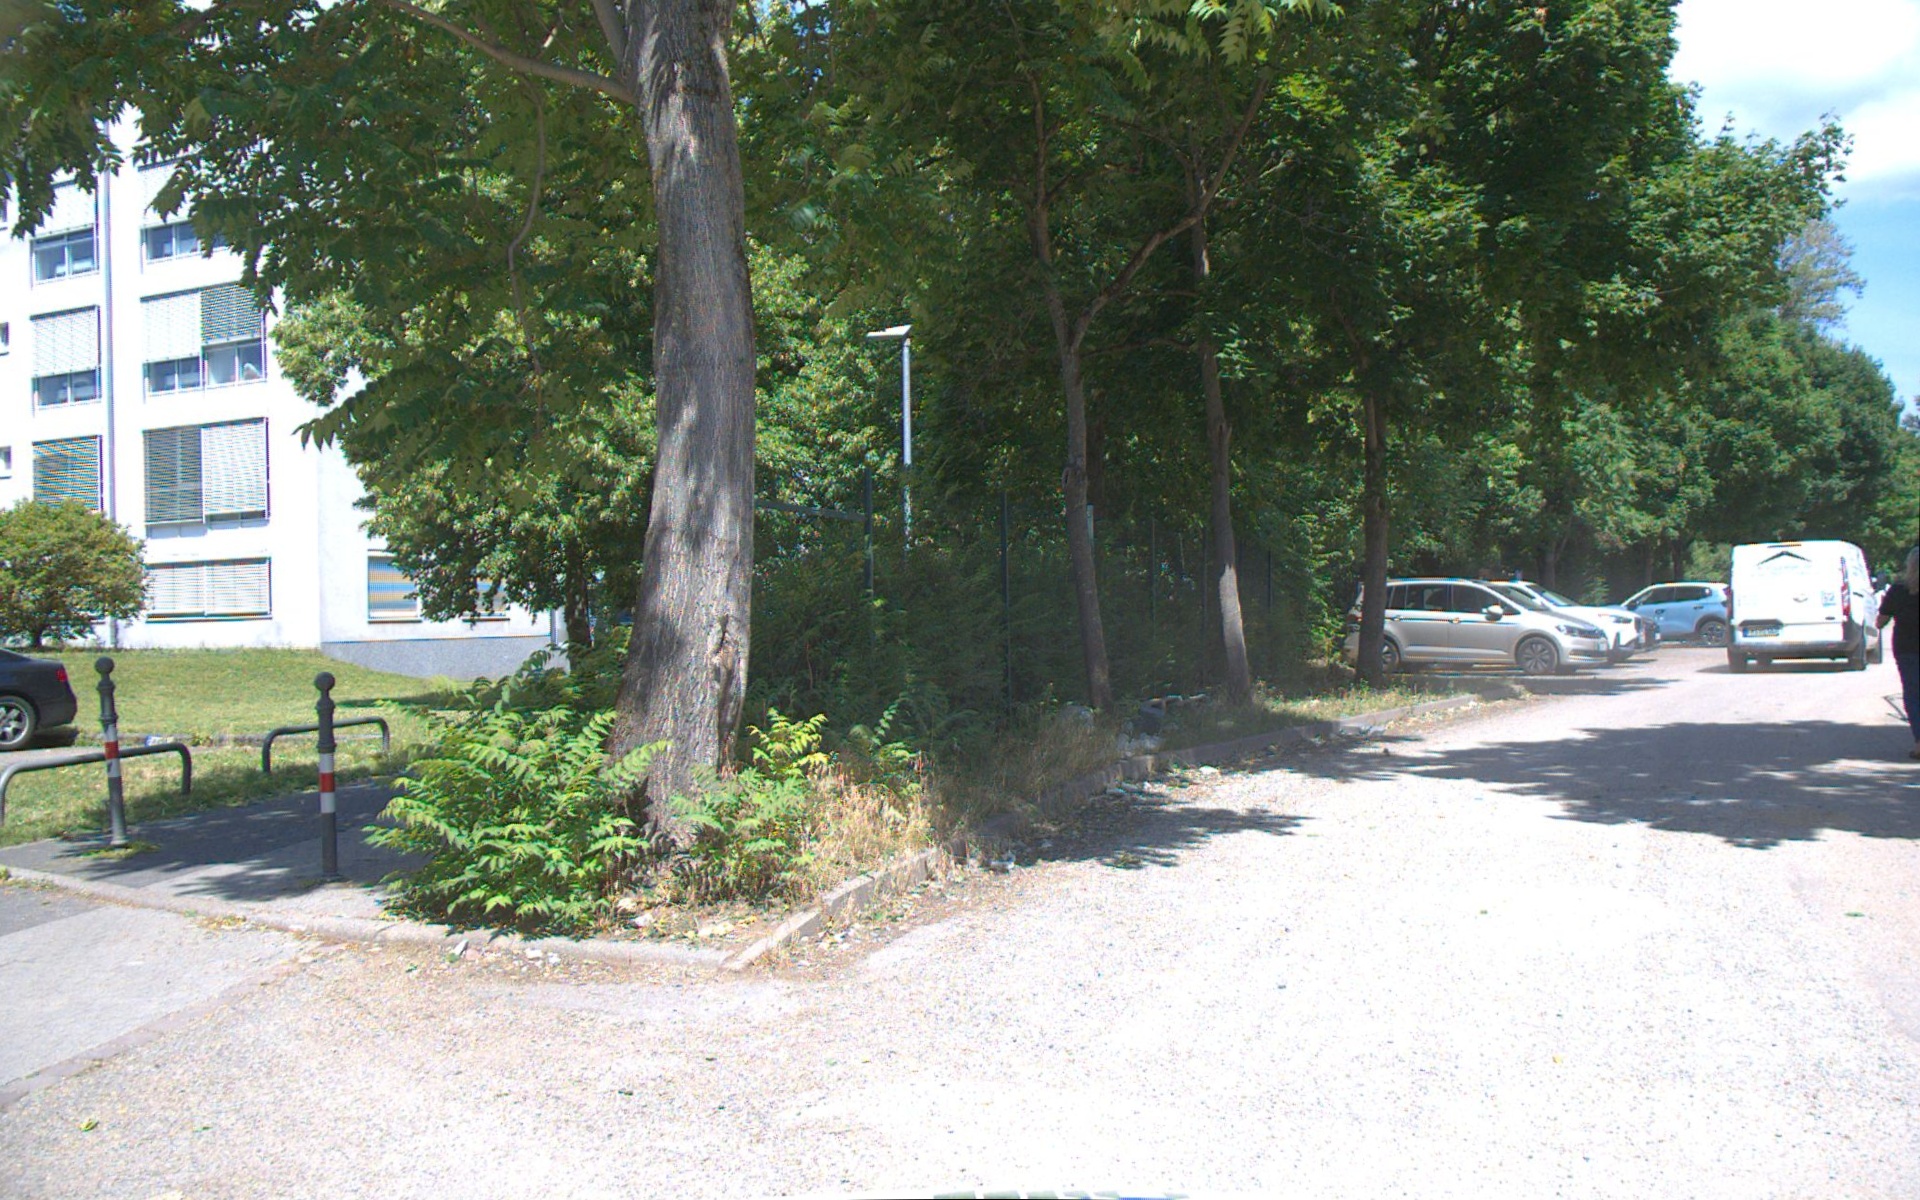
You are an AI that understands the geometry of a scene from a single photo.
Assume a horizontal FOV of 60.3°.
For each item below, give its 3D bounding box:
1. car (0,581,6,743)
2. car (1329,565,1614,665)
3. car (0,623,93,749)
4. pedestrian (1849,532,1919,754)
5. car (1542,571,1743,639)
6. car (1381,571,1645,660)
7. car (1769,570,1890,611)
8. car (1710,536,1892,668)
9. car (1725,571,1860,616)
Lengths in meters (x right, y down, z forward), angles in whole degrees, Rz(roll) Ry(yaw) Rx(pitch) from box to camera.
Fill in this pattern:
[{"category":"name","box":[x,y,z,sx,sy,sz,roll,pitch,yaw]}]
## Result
[{"category":"car","box":[-14.198,0.837,19.476,1.958,2.049,4.760,-2,-1,34]},{"category":"car","box":[8.965,0.306,29.116,4.428,1.637,1.993,-1,-2,35]},{"category":"car","box":[-12.101,0.997,17.818,1.796,1.376,4.612,-1,0,34]},{"category":"pedestrian","box":[7.575,0.311,12.918,1.015,1.679,1.048,-1,1,25]},{"category":"car","box":[17.205,0.135,41.756,4.426,1.625,1.720,-1,1,34]},{"category":"car","box":[10.387,0.295,31.204,4.426,1.558,1.720,-1,0,34]},{"category":"car","box":[37.455,-0.398,71.270,4.426,1.625,1.720,-1,1,34]},{"category":"car","box":[13.915,0.015,27.228,1.940,1.981,4.563,-1,0,36]},{"category":"car","box":[31.804,-0.243,63.226,4.426,1.574,1.720,-1,1,34]}]
